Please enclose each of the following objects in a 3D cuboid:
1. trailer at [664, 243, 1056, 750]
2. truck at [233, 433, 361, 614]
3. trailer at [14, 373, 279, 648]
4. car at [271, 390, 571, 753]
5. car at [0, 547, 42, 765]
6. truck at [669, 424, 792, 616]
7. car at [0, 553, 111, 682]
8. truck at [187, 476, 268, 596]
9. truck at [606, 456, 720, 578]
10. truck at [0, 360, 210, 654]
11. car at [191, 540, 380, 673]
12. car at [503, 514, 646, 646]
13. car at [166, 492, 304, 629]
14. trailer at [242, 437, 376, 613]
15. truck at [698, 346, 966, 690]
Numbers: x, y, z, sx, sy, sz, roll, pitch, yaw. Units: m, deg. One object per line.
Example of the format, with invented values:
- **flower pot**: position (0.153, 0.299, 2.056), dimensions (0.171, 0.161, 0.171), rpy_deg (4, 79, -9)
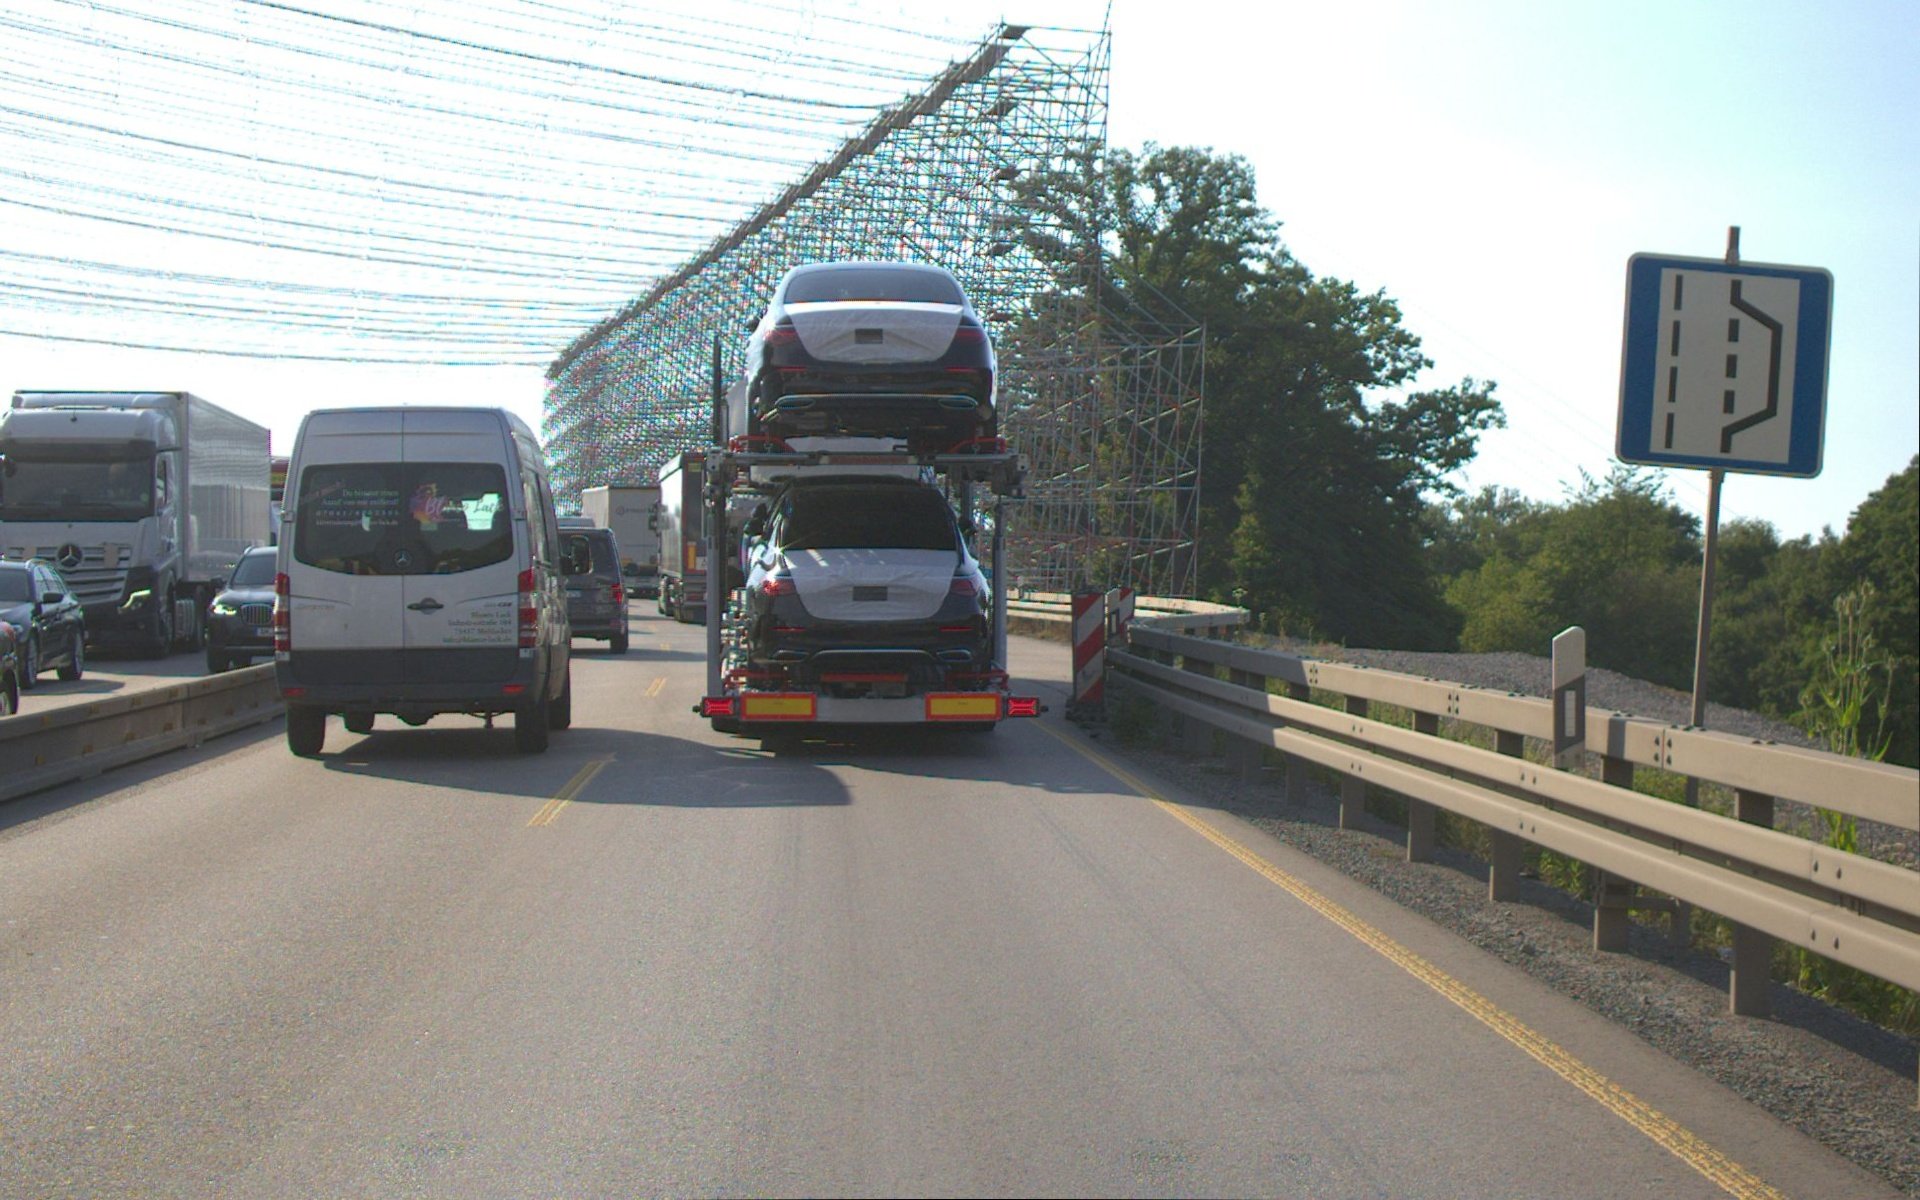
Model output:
- **trailer**: position (-1.124, -0.837, 32.707), dimensions (2.868, 3.712, 14.949), rpy_deg (0, 1, -3)
- **truck**: position (-16.226, -1.838, 84.430), dimensions (2.744, 4.285, 5.935), rpy_deg (0, 1, -8)
- **trailer**: position (-13.827, -1.442, 59.574), dimensions (2.720, 4.203, 13.751), rpy_deg (0, 1, -6)
- **car**: position (-4.136, -0.218, 26.952), dimensions (1.956, 2.612, 4.001), rpy_deg (-1, 0, -4)
- **car**: position (-7.629, 0.413, 23.504), dimensions (1.782, 1.516, 4.001), rpy_deg (2, 2, -3)
- **truck**: position (-5.725, -1.962, 84.964), dimensions (2.731, 4.370, 11.523), rpy_deg (1, 1, -4)
- **car**: position (-11.429, 0.176, 40.973), dimensions (1.743, 1.455, 4.714), rpy_deg (0, 1, -4)
- **truck**: position (-26.548, -2.312, 124.494), dimensions (2.661, 4.215, 6.106), rpy_deg (0, 1, -14)
- **truck**: position (-11.303, -3.123, 129.552), dimensions (3.686, 4.206, 13.672), rpy_deg (-3, 2, -7)
- **truck**: position (-13.049, -1.360, 52.042), dimensions (2.712, 4.203, 5.683), rpy_deg (0, 1, -6)
- **car**: position (-9.053, 0.041, 46.470), dimensions (1.817, 1.573, 4.756), rpy_deg (-2, 2, -3)
- **car**: position (-6.204, -0.321, 54.992), dimensions (1.993, 2.007, 4.001), rpy_deg (1, 0, -10)
- **car**: position (-15.065, -0.893, 71.772), dimensions (2.021, 2.680, 6.951), rpy_deg (1, 2, -6)
- **trailer**: position (-17.172, -1.903, 91.440), dimensions (2.765, 4.319, 13.884), rpy_deg (0, 1, -8)
- **truck**: position (-1.533, -0.919, 40.629), dimensions (2.881, 3.690, 7.326), rpy_deg (0, 1, -2)
